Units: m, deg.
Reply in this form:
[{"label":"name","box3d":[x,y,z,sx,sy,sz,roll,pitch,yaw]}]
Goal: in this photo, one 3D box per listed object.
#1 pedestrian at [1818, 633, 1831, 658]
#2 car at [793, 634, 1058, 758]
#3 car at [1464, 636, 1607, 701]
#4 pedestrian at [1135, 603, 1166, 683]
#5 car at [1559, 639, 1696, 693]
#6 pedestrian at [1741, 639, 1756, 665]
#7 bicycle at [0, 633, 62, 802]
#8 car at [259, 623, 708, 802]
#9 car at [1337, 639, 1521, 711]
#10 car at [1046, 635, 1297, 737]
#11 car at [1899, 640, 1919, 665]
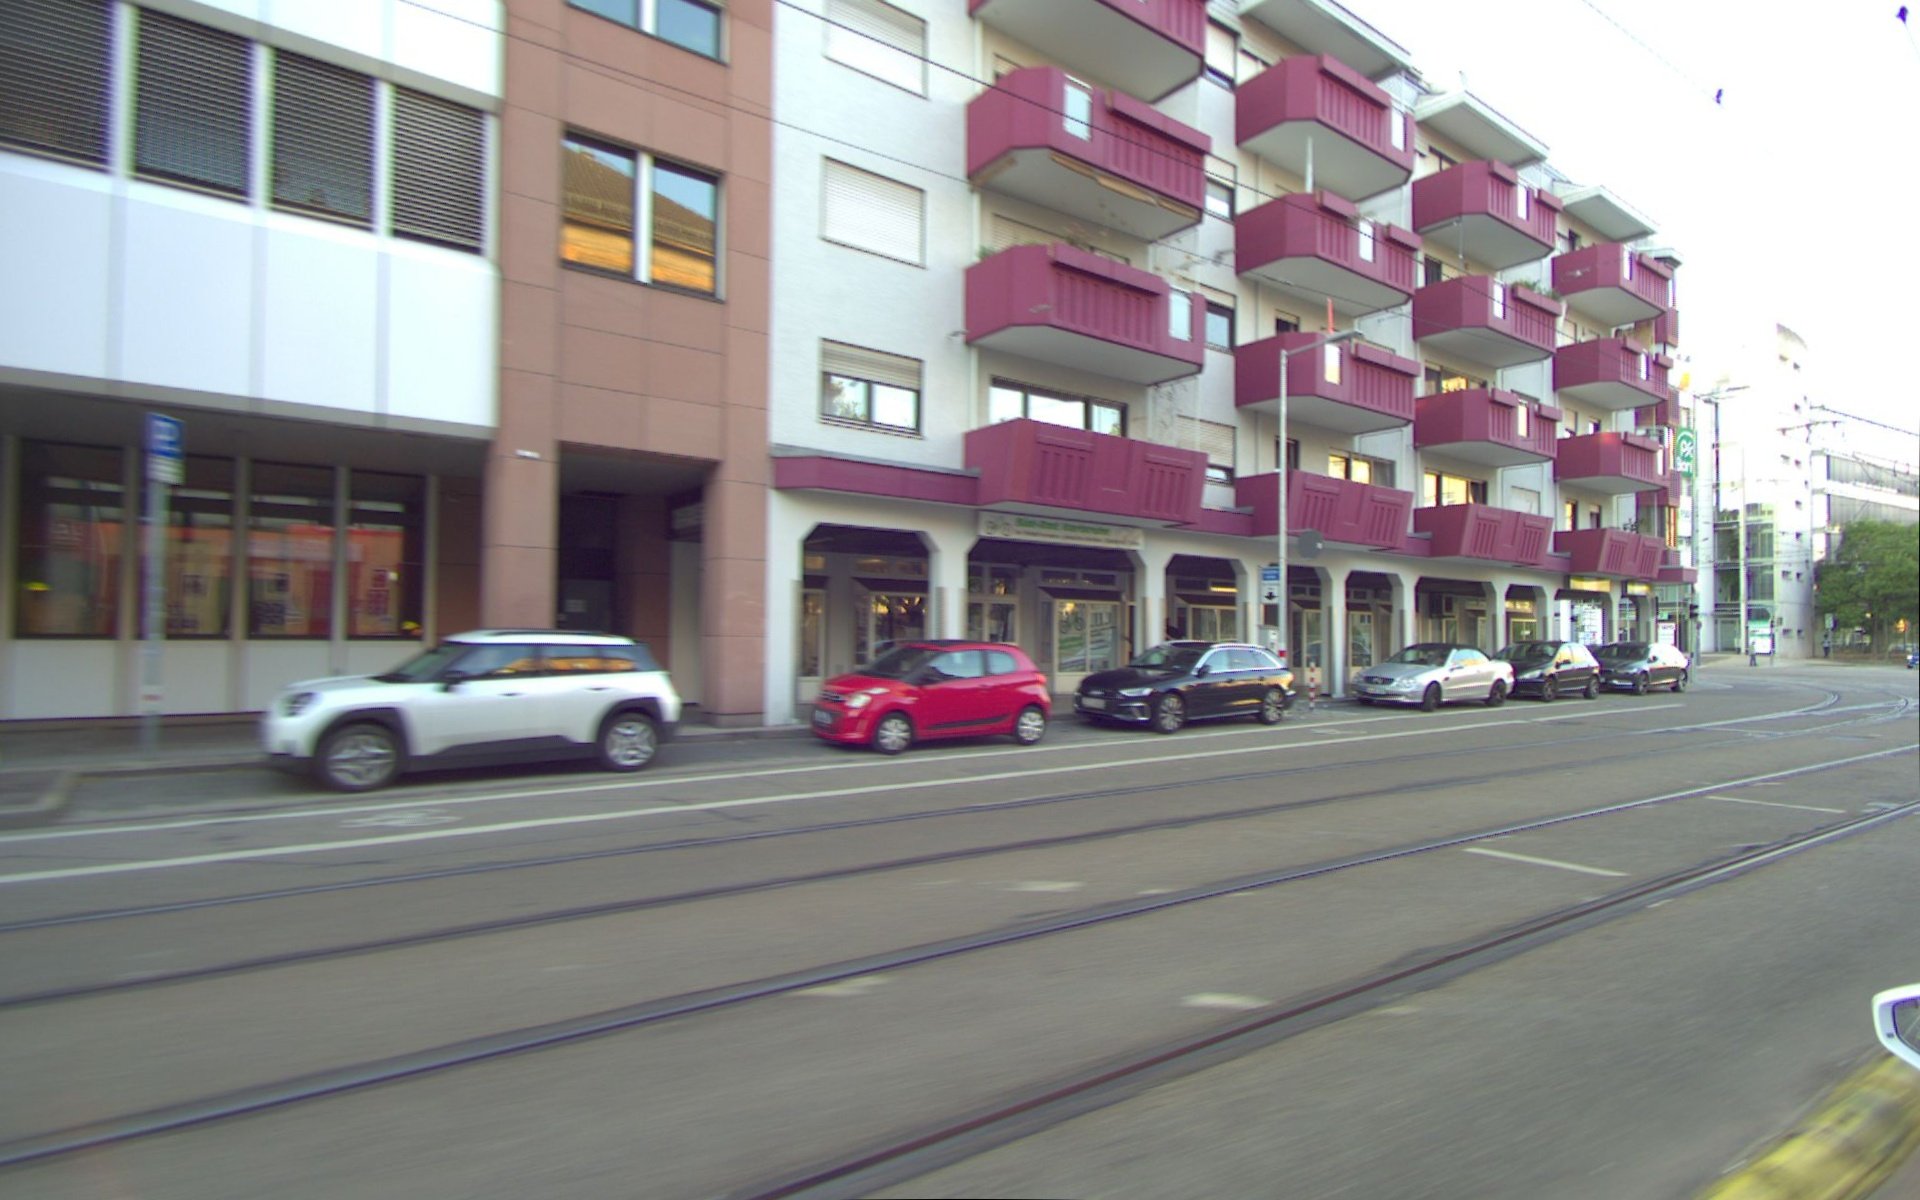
[{"label":"pedestrian","box3d":[67.714,3.575,78.666,0.544,1.947,0.656,2,-3,-41]},{"label":"car","box3d":[-0.441,1.287,14.304,3.446,1.499,1.600,2,-1,-36]},{"label":"car","box3d":[15.209,1.757,26.462,4.161,1.528,1.775,2,-1,-37]},{"label":"pedestrian","box3d":[4.610,1.038,24.383,0.519,1.897,0.614,1,-2,-16]},{"label":"car","box3d":[19.904,1.921,29.884,5.038,1.476,1.839,2,-3,-37]},{"label":"pedestrian","box3d":[53.951,3.561,68.723,0.650,1.733,0.546,1,-2,-20]},{"label":"bicycle","box3d":[-8.858,0.959,8.143,2.231,1.396,0.606,1,-2,-30]},{"label":"car","box3d":[-5.062,1.085,10.945,4.164,1.576,1.704,2,-1,-37]},{"label":"car","box3d":[10.674,1.648,22.738,4.630,1.432,1.680,2,-1,-35]},{"label":"car","box3d":[3.815,1.431,17.709,4.445,1.499,1.977,2,-1,-39]},{"label":"car","box3d":[66.250,3.575,68.754,4.186,1.722,1.676,1,-2,-28]}]
